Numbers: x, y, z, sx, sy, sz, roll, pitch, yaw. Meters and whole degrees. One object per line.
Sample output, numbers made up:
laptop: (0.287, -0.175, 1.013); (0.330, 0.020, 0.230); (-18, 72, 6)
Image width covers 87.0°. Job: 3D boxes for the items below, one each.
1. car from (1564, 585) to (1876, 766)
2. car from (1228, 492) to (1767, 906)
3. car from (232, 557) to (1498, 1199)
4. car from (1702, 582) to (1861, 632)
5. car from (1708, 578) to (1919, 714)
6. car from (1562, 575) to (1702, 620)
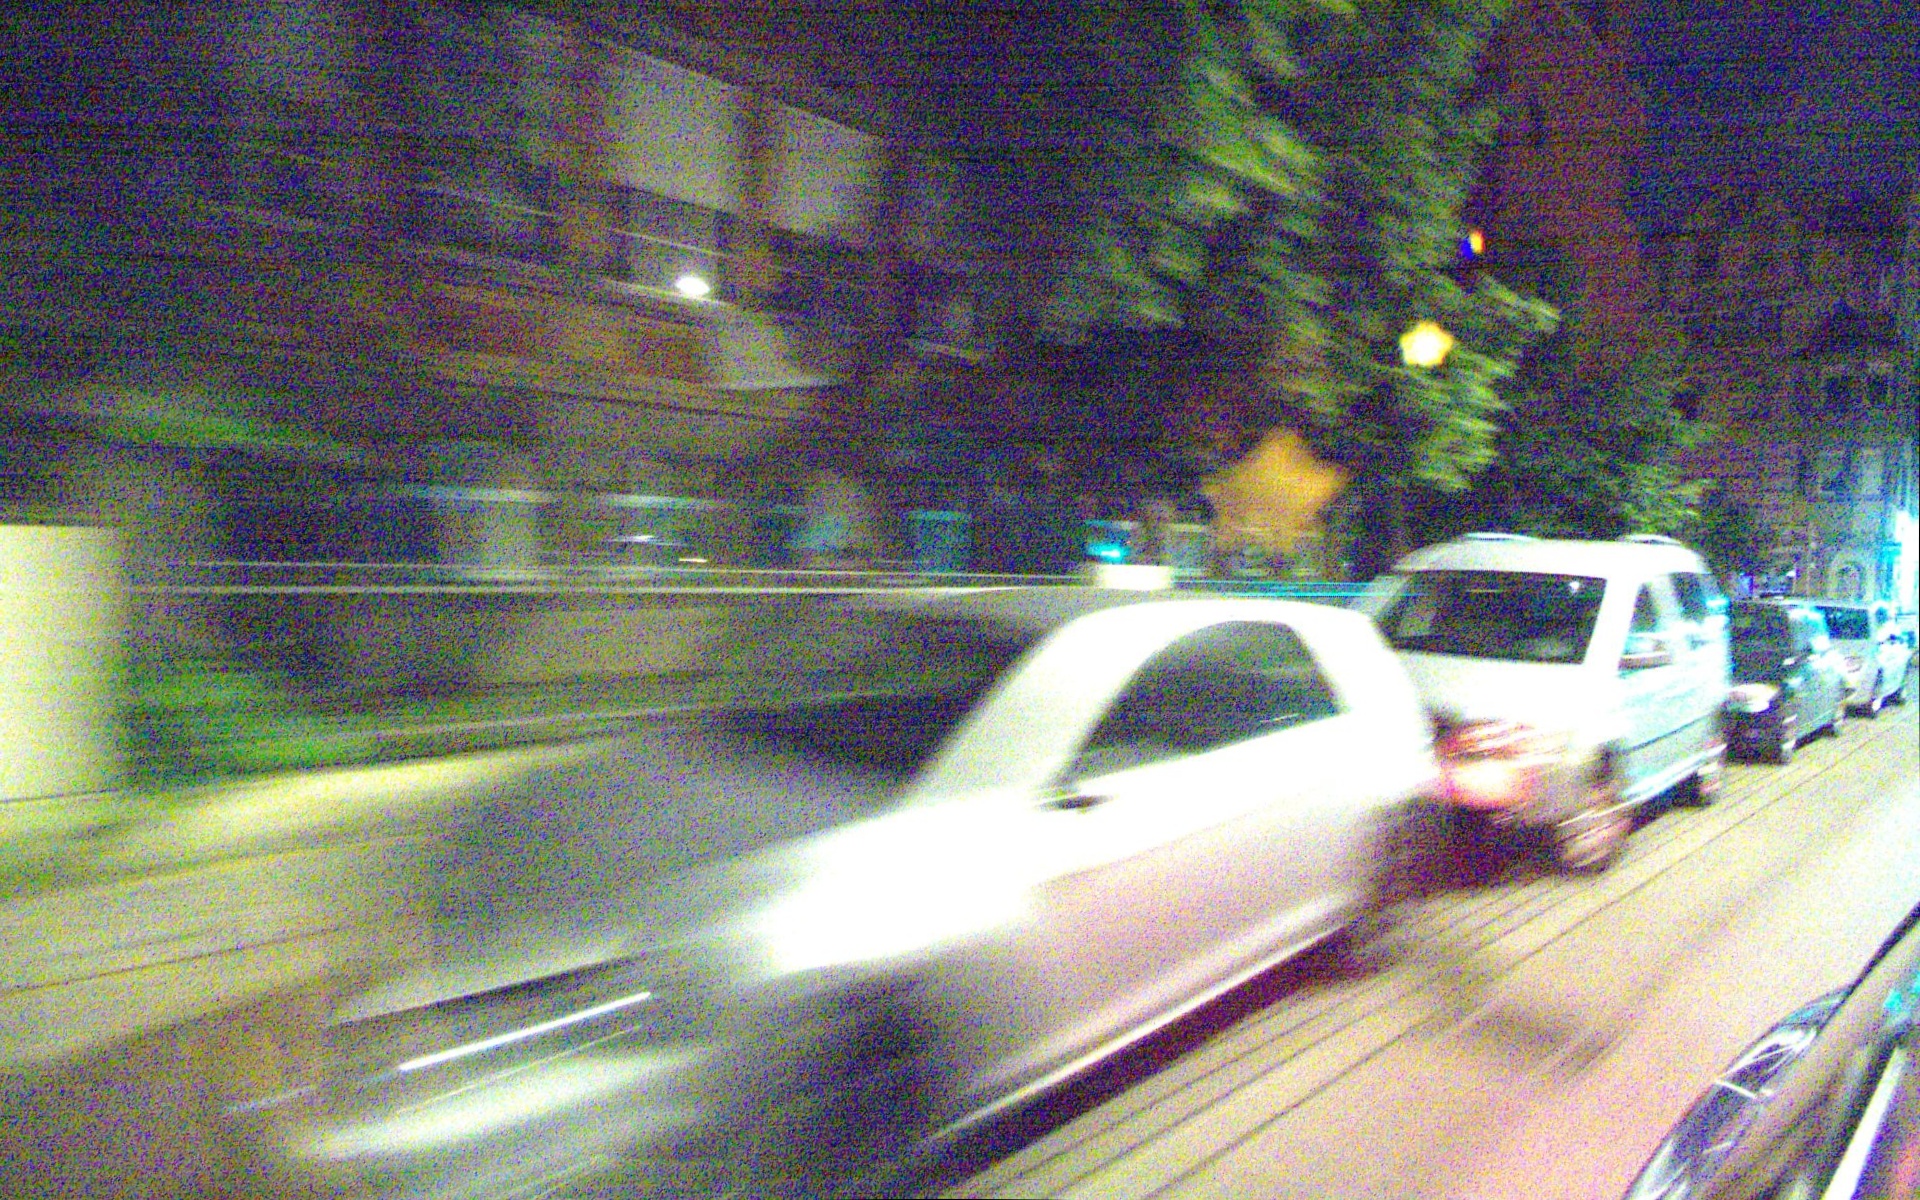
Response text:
car: (8.027, 0.618, 10.526); (4.366, 1.438, 1.689); (0, 3, -41)
car: (3.735, 0.399, 6.659); (4.242, 1.877, 1.738); (0, 3, -42)
car: (0.183, 0.633, 3.542); (4.251, 1.436, 1.729); (0, 3, -44)
car: (28.353, 0.202, 35.010); (1.821, 1.439, 4.021); (-2, 4, -42)
car: (11.928, 0.531, 13.902); (3.930, 1.495, 1.744); (0, 5, -41)
car: (26.046, -0.155, 39.297); (1.821, 1.485, 4.197); (0, 4, -44)
